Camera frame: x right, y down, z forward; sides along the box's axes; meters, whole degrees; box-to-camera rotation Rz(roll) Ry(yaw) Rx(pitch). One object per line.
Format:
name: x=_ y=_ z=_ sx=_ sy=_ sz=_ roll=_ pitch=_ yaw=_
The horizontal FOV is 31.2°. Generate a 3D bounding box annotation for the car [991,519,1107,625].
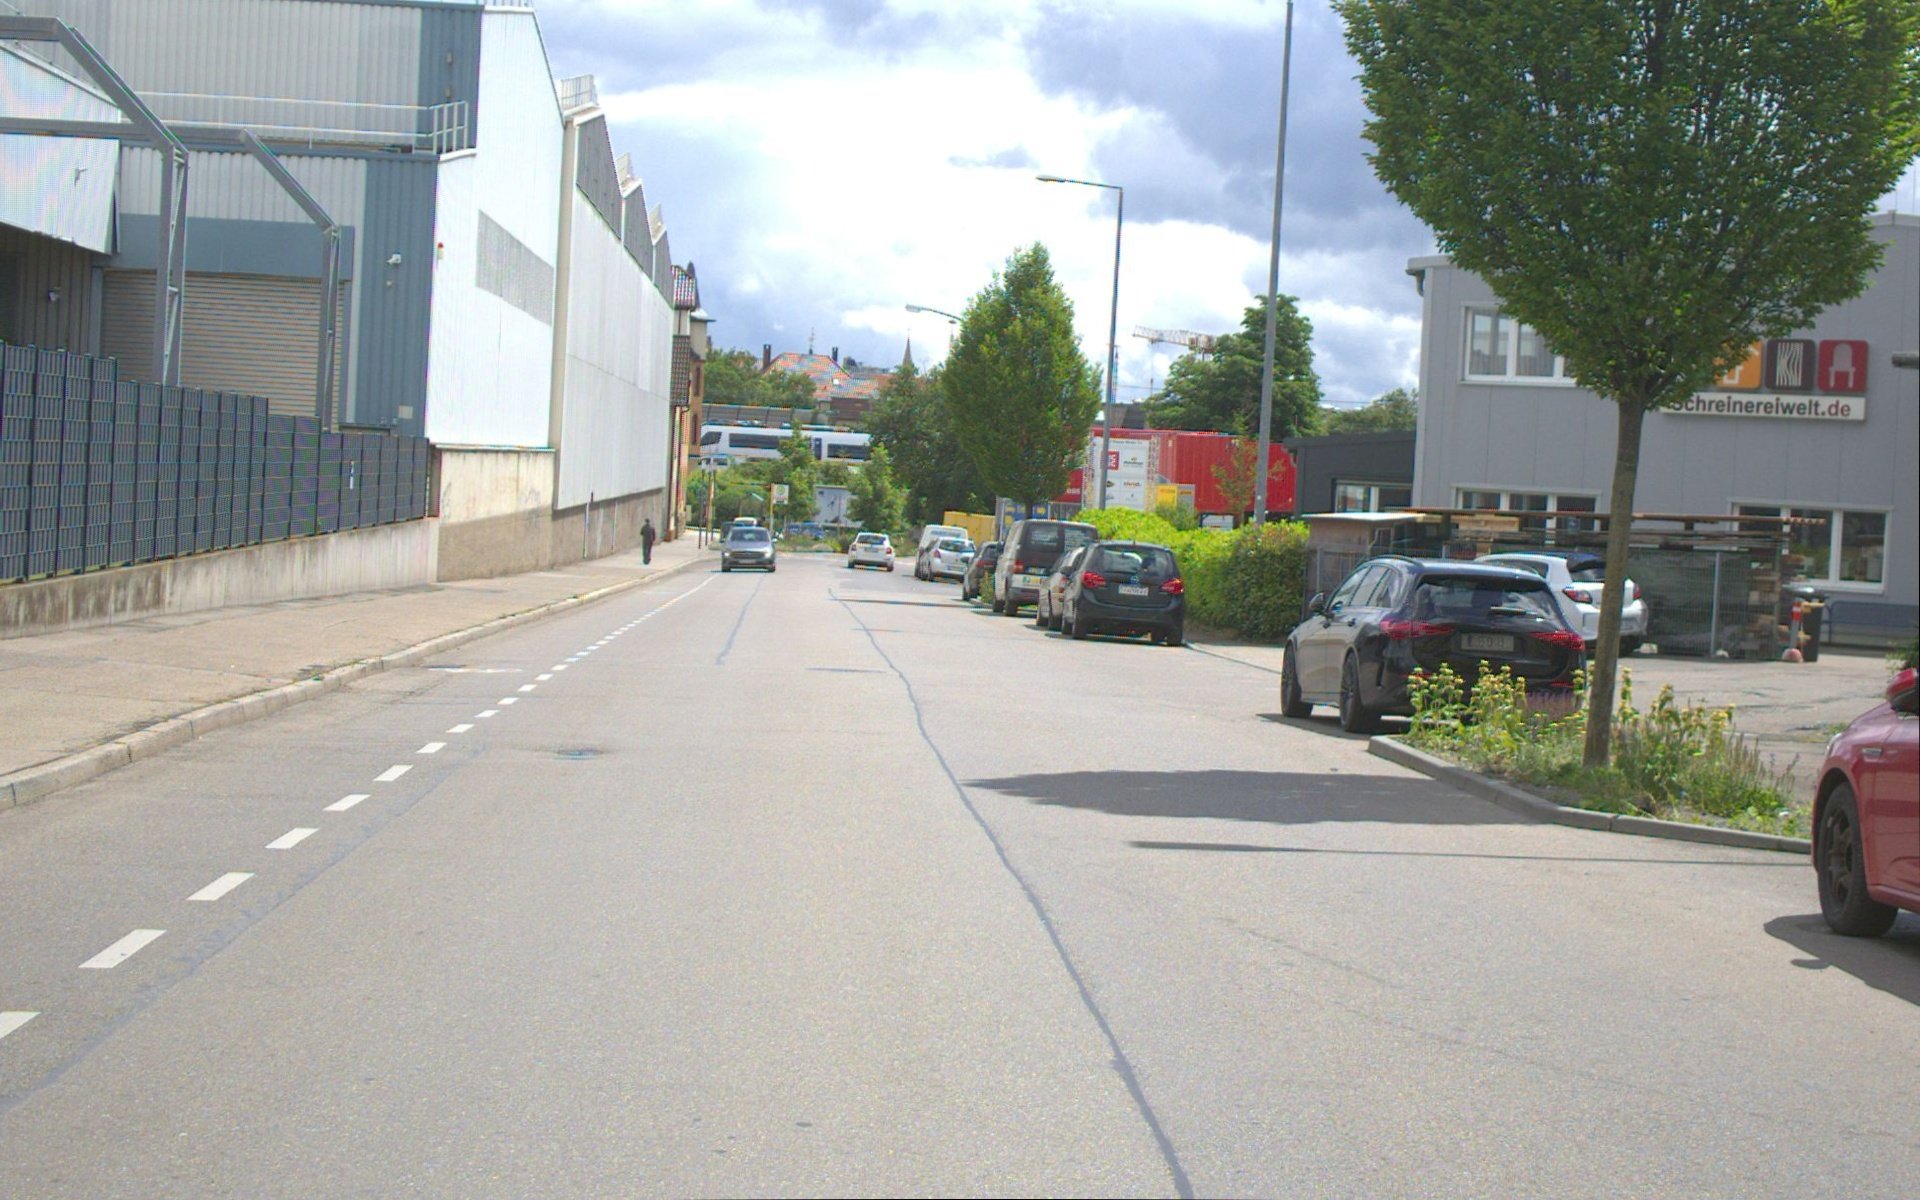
car: x=1.772 y=-0.580 z=70.196 sx=1.869 sy=1.983 sz=5.144 roll=3 pitch=1 yaw=-3

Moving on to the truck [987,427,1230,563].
truck: x=5.540 y=-3.926 z=128.368 sx=8.458 sy=4.655 sz=2.580 roll=3 pitch=-1 yaw=19

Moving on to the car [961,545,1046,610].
car: x=1.045 y=-0.573 z=84.003 sx=1.714 sy=1.468 sz=4.512 roll=3 pitch=1 yaw=-3

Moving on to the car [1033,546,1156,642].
car: x=2.311 y=-0.131 z=60.289 sx=1.655 sy=1.535 sz=4.735 roll=3 pitch=1 yaw=-3

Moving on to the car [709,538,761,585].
car: x=-7.642 y=-1.303 z=117.017 sx=1.719 sy=1.550 sz=4.288 roll=0 pitch=0 yaw=-3

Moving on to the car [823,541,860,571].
car: x=-6.625 y=-2.440 z=191.976 sx=1.852 sy=1.481 sz=4.000 roll=3 pitch=-1 yaw=-3

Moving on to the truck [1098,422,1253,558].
truck: x=7.550 y=-3.804 z=121.644 sx=2.573 sy=4.434 sz=7.865 roll=3 pitch=-1 yaw=-18

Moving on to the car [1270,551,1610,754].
car: x=3.889 y=0.371 z=28.659 sx=1.791 sy=1.460 sz=4.709 roll=3 pitch=1 yaw=-4

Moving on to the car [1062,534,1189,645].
car: x=2.619 y=-0.192 z=55.117 sx=1.679 sy=1.632 sz=4.123 roll=3 pitch=1 yaw=-1

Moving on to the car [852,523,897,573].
car: x=-3.333 y=-1.998 z=133.725 sx=1.567 sy=1.780 sz=3.606 roll=3 pitch=-1 yaw=-3

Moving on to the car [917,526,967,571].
car: x=-0.666 y=-1.869 z=125.022 sx=1.701 sy=1.522 sz=3.738 roll=3 pitch=1 yaw=-1

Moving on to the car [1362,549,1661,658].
car: x=7.833 y=0.011 z=49.110 sx=1.720 sy=1.457 sz=4.073 roll=-1 pitch=2 yaw=-41

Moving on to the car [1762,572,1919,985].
car: x=4.428 y=0.732 z=12.635 sx=1.735 sy=1.467 sz=4.262 roll=4 pitch=2 yaw=-2

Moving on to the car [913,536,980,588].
car: x=-0.458 y=-1.275 z=114.256 sx=1.701 sy=1.522 sz=3.739 roll=6 pitch=1 yaw=-6

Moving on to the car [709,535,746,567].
car: x=-12.212 y=-2.587 z=180.667 sx=1.852 sy=1.481 sz=4.000 roll=3 pitch=-1 yaw=-3
